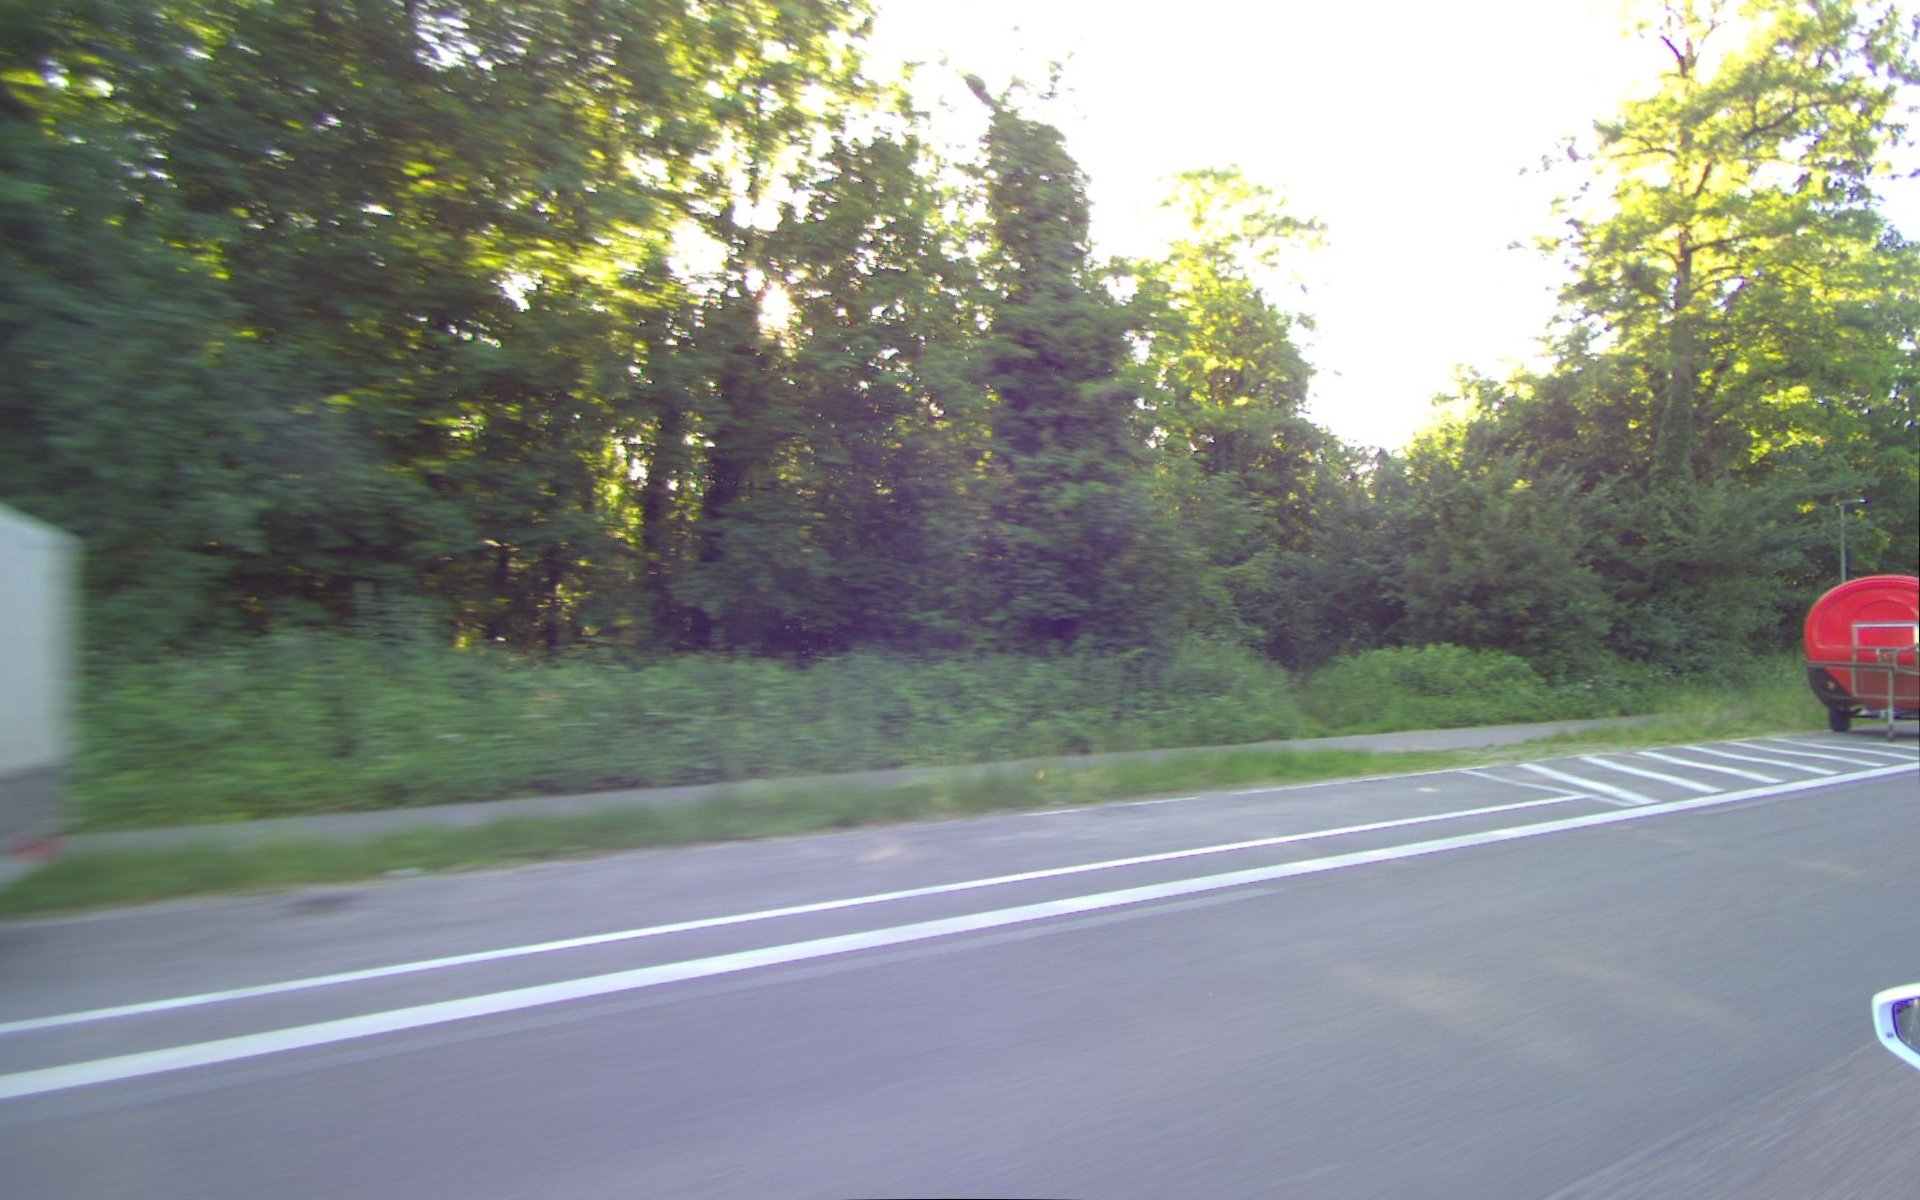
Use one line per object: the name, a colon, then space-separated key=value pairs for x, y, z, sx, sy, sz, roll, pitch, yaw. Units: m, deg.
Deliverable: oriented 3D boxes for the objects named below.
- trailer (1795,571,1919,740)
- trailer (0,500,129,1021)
trailer: x=15.493 y=0.873 z=16.319 sx=3.523 sy=2.513 sz=2.054 roll=1 pitch=-2 yaw=-34
trailer: x=-5.715 y=0.643 z=3.880 sx=3.518 sy=2.039 sz=1.845 roll=1 pitch=-4 yaw=-30
